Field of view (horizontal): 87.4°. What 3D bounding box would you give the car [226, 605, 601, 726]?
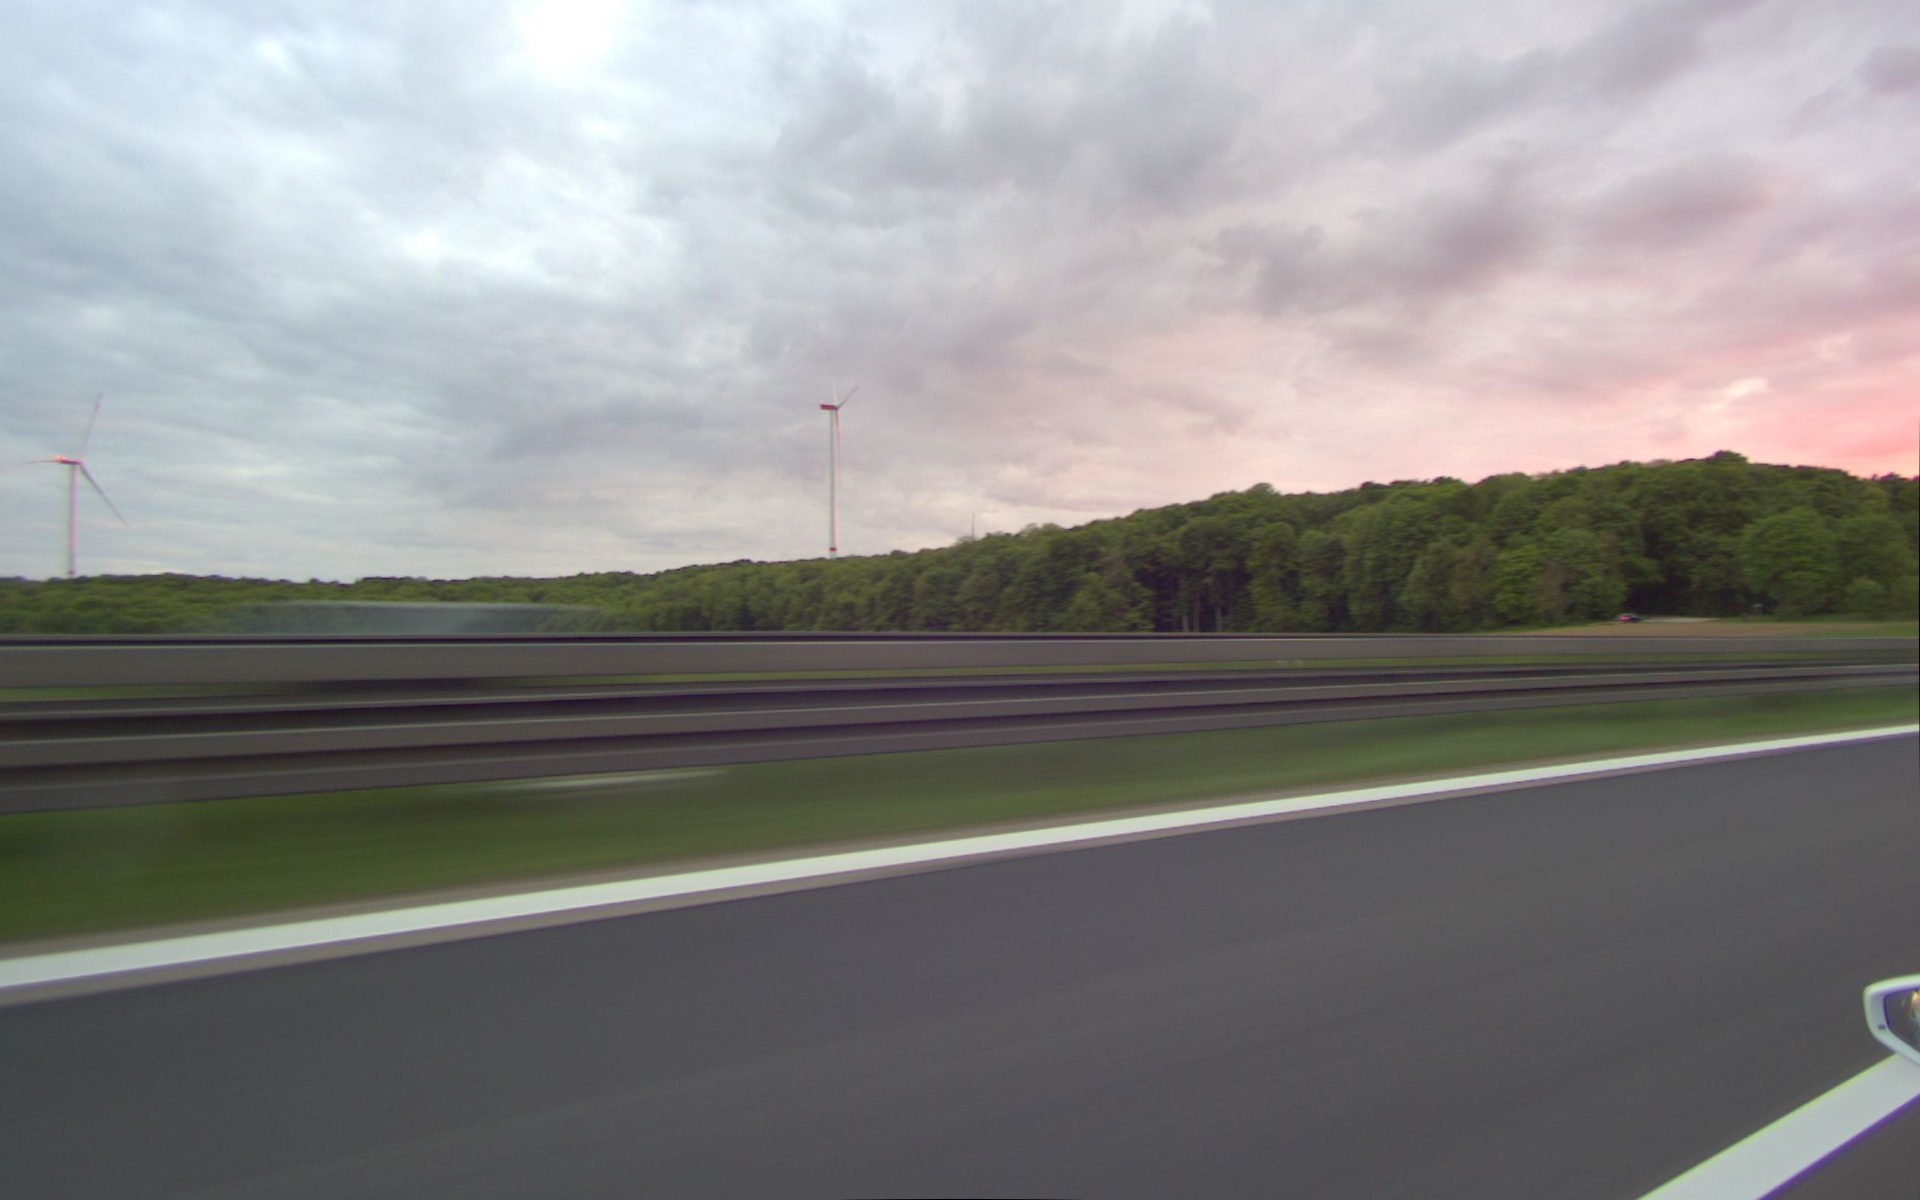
[{"bbox_3d":[-6.717,0.776,12.630,3.906,1.305,1.630,0,-4,-32],"label":"car"}]
